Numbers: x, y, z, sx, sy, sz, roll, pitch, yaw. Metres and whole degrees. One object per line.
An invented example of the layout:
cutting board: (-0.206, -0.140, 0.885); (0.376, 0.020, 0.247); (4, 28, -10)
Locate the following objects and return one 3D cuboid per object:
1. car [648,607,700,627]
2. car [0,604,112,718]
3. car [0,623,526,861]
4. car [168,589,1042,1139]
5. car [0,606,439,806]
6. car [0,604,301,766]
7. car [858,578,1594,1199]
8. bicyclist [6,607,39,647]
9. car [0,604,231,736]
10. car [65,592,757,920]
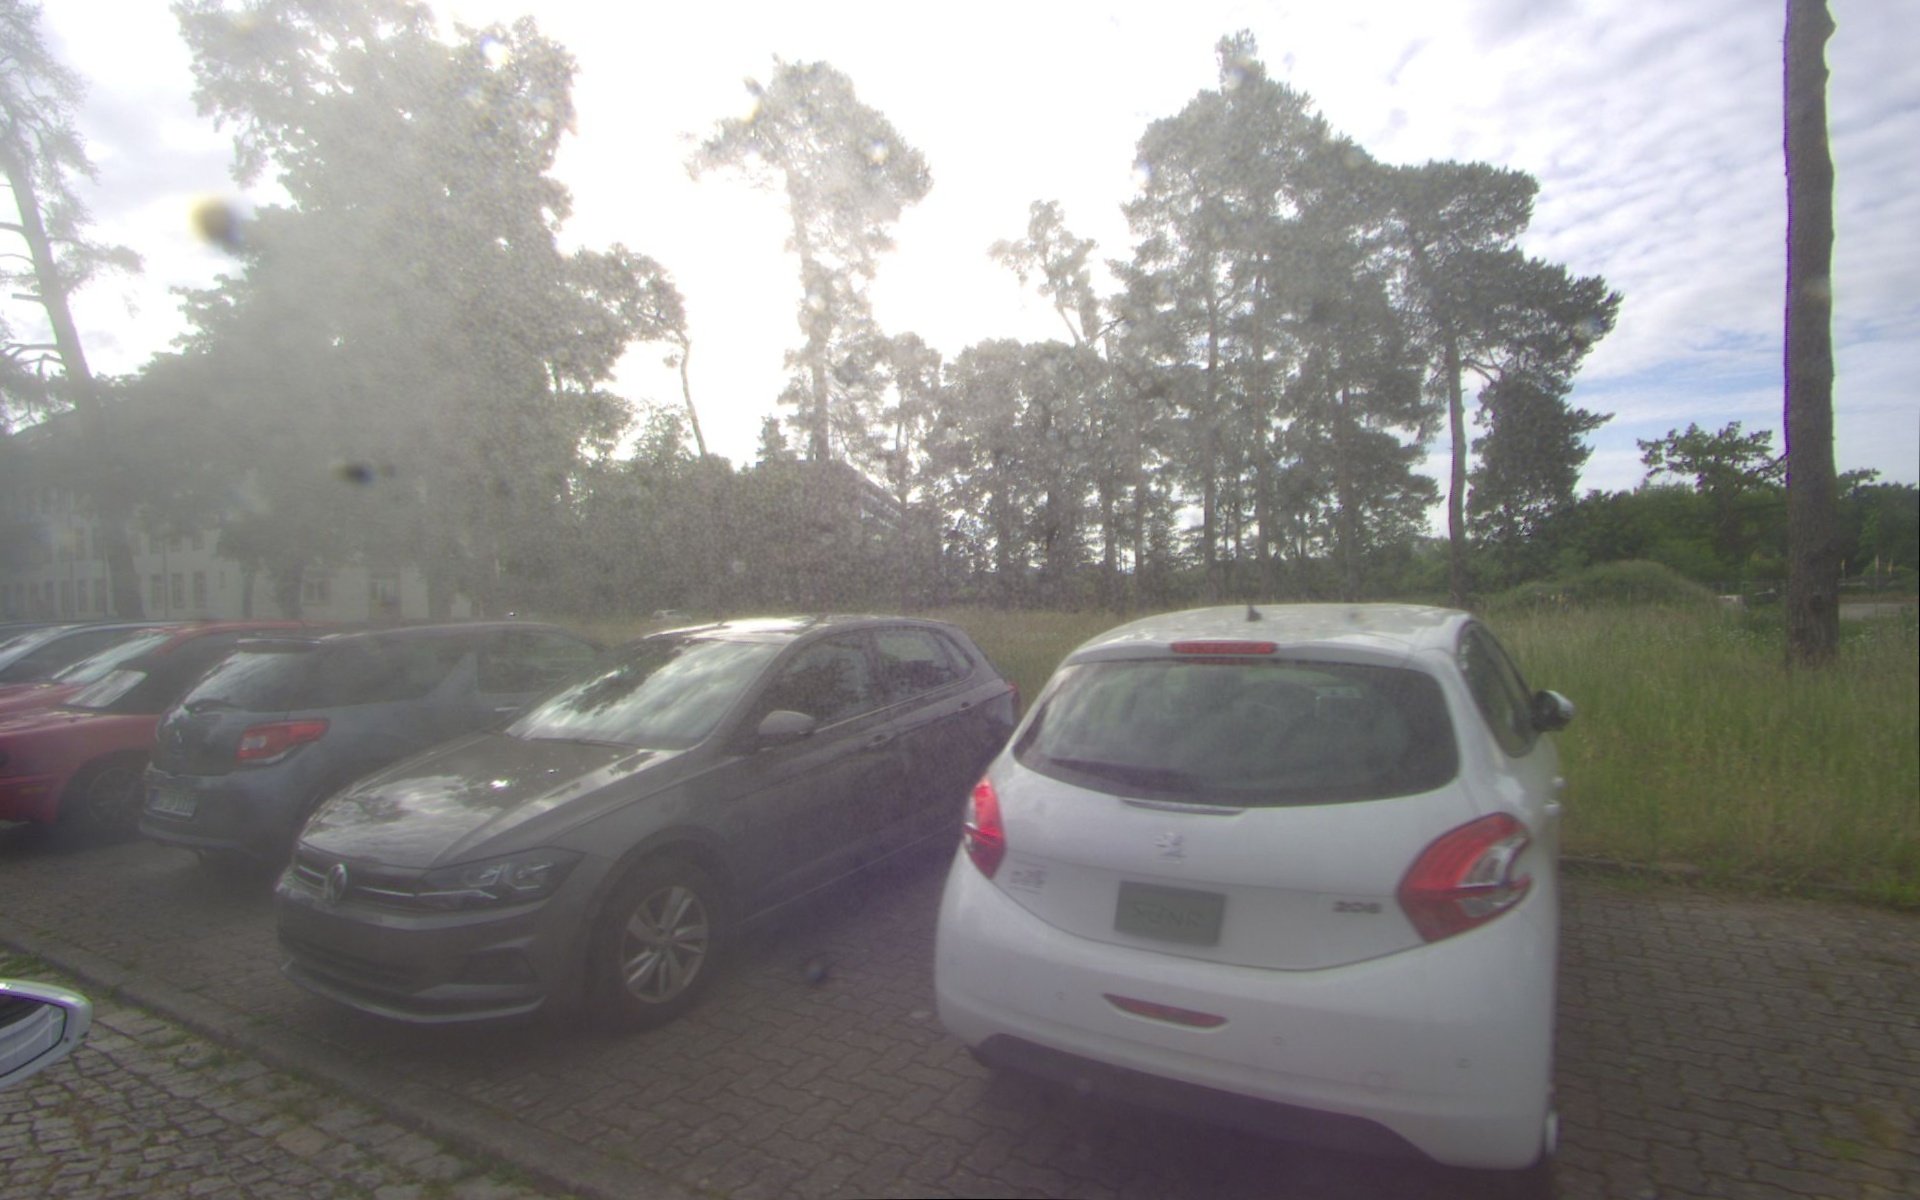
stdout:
car: (-22.972, 1.397, 80.481); (1.627, 1.439, 3.941); (-1, -3, 33)
car: (-14.007, 0.878, 13.233); (1.619, 1.497, 3.917); (0, 2, 32)
car: (-5.746, 0.915, 8.056); (1.731, 1.253, 3.855); (-1, 2, 29)
car: (-1.218, 0.753, 4.972); (1.732, 1.492, 3.854); (-1, 2, 30)
car: (-7.635, 0.870, 9.674); (1.843, 1.436, 4.253); (-1, 2, 30)
car: (-9.739, 0.852, 10.504); (1.839, 1.436, 4.423); (-1, 2, 22)
car: (1.470, 0.712, 4.000); (1.733, 1.492, 3.853); (-1, 2, 32)
bicyclist: (-34.402, 0.979, 36.748); (0.596, 1.429, 0.748); (0, 1, 31)
car: (-11.898, 0.868, 12.054); (1.842, 1.436, 4.674); (-1, 2, 28)
car: (-3.382, 0.760, 6.971); (1.731, 1.492, 3.855); (-1, 2, 29)
